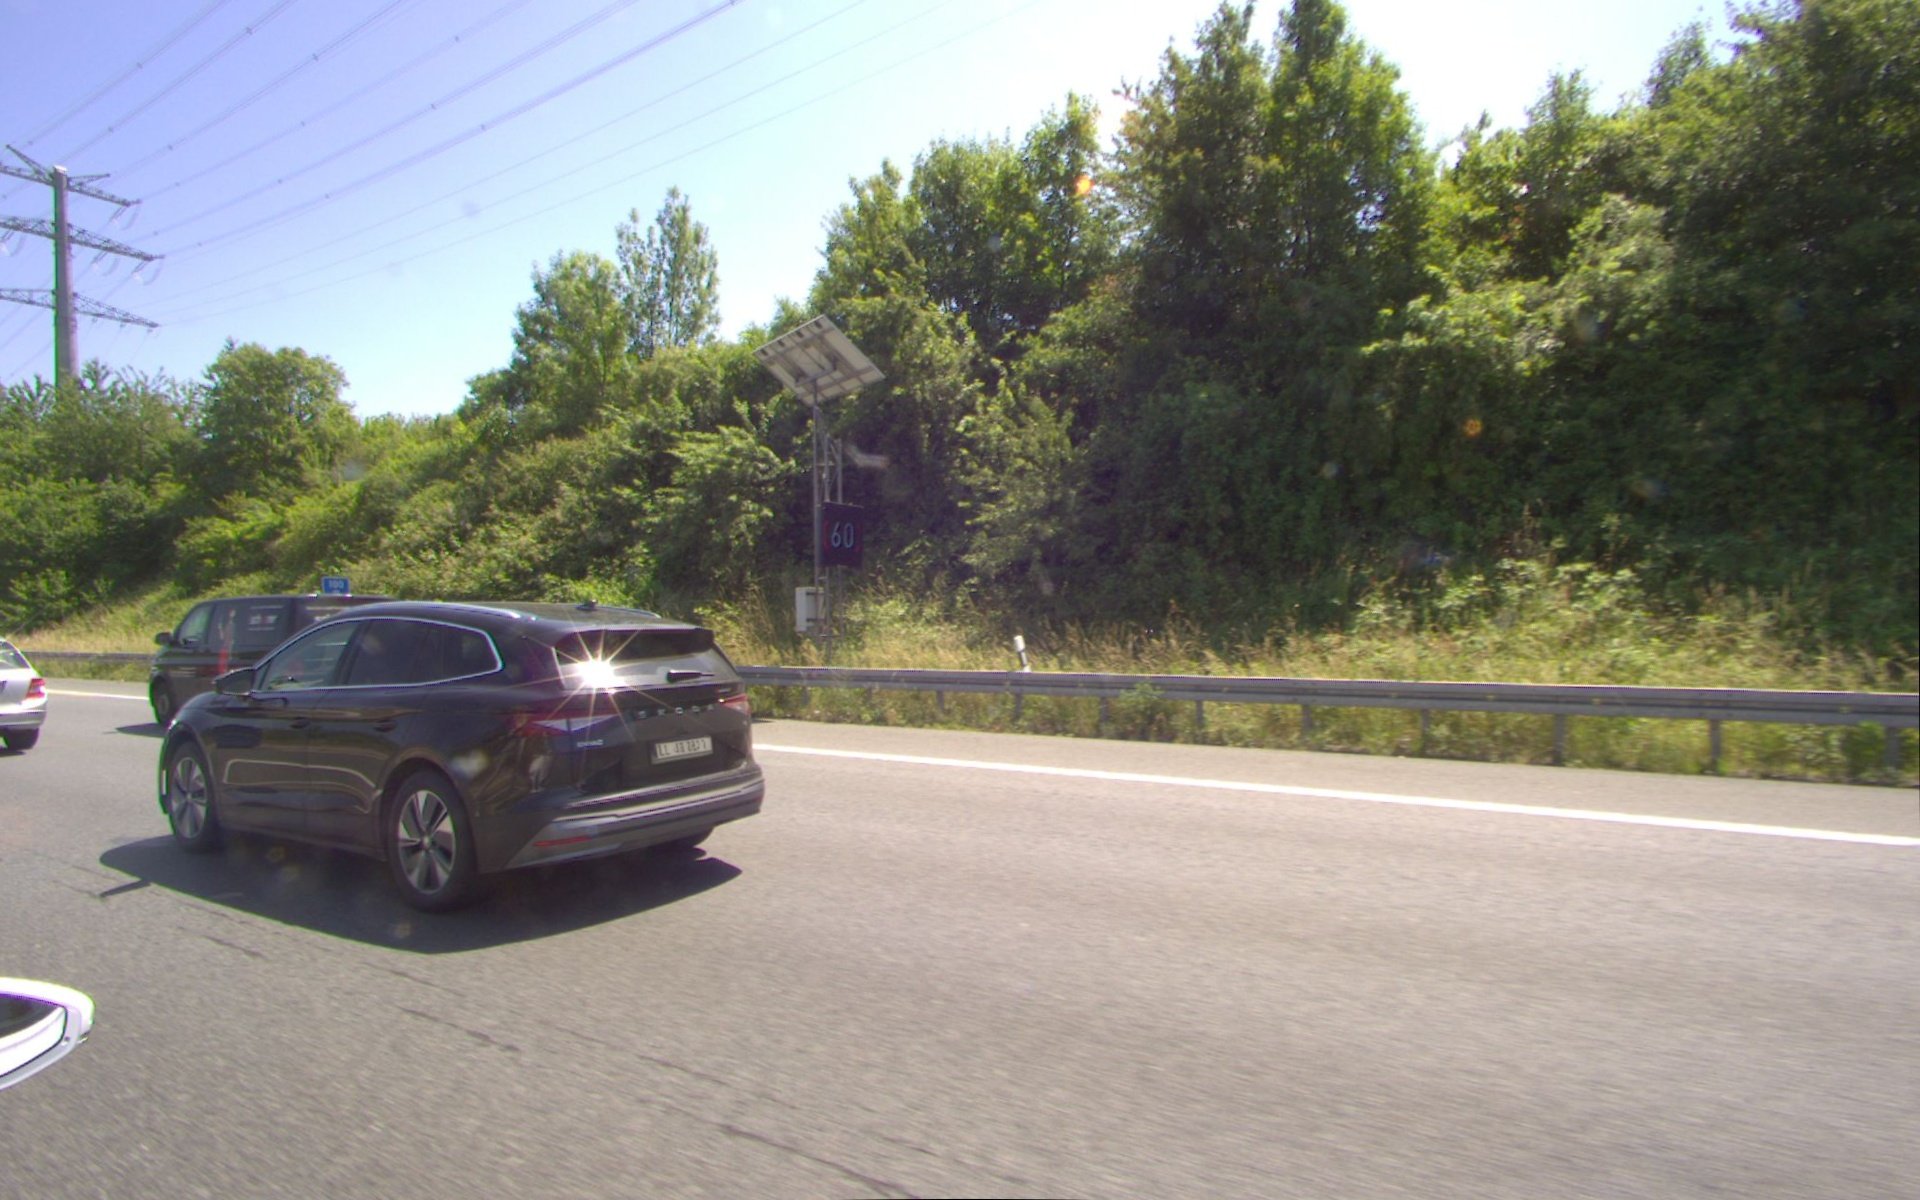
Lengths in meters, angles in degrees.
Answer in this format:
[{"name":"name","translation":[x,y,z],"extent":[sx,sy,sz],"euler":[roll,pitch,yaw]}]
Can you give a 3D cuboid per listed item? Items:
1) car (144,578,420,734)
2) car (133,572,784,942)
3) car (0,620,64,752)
[{"name":"car","translation":[-10.145,0.795,14.937],"extent":[4.164,2.039,1.796],"euler":[-1,-2,30]},{"name":"car","translation":[-3.349,0.782,6.427],"extent":[4.365,1.676,1.698],"euler":[-1,-2,31]},{"name":"car","translation":[-13.109,1.031,12.460],"extent":[4.297,1.537,1.768],"euler":[-1,-2,32]}]
